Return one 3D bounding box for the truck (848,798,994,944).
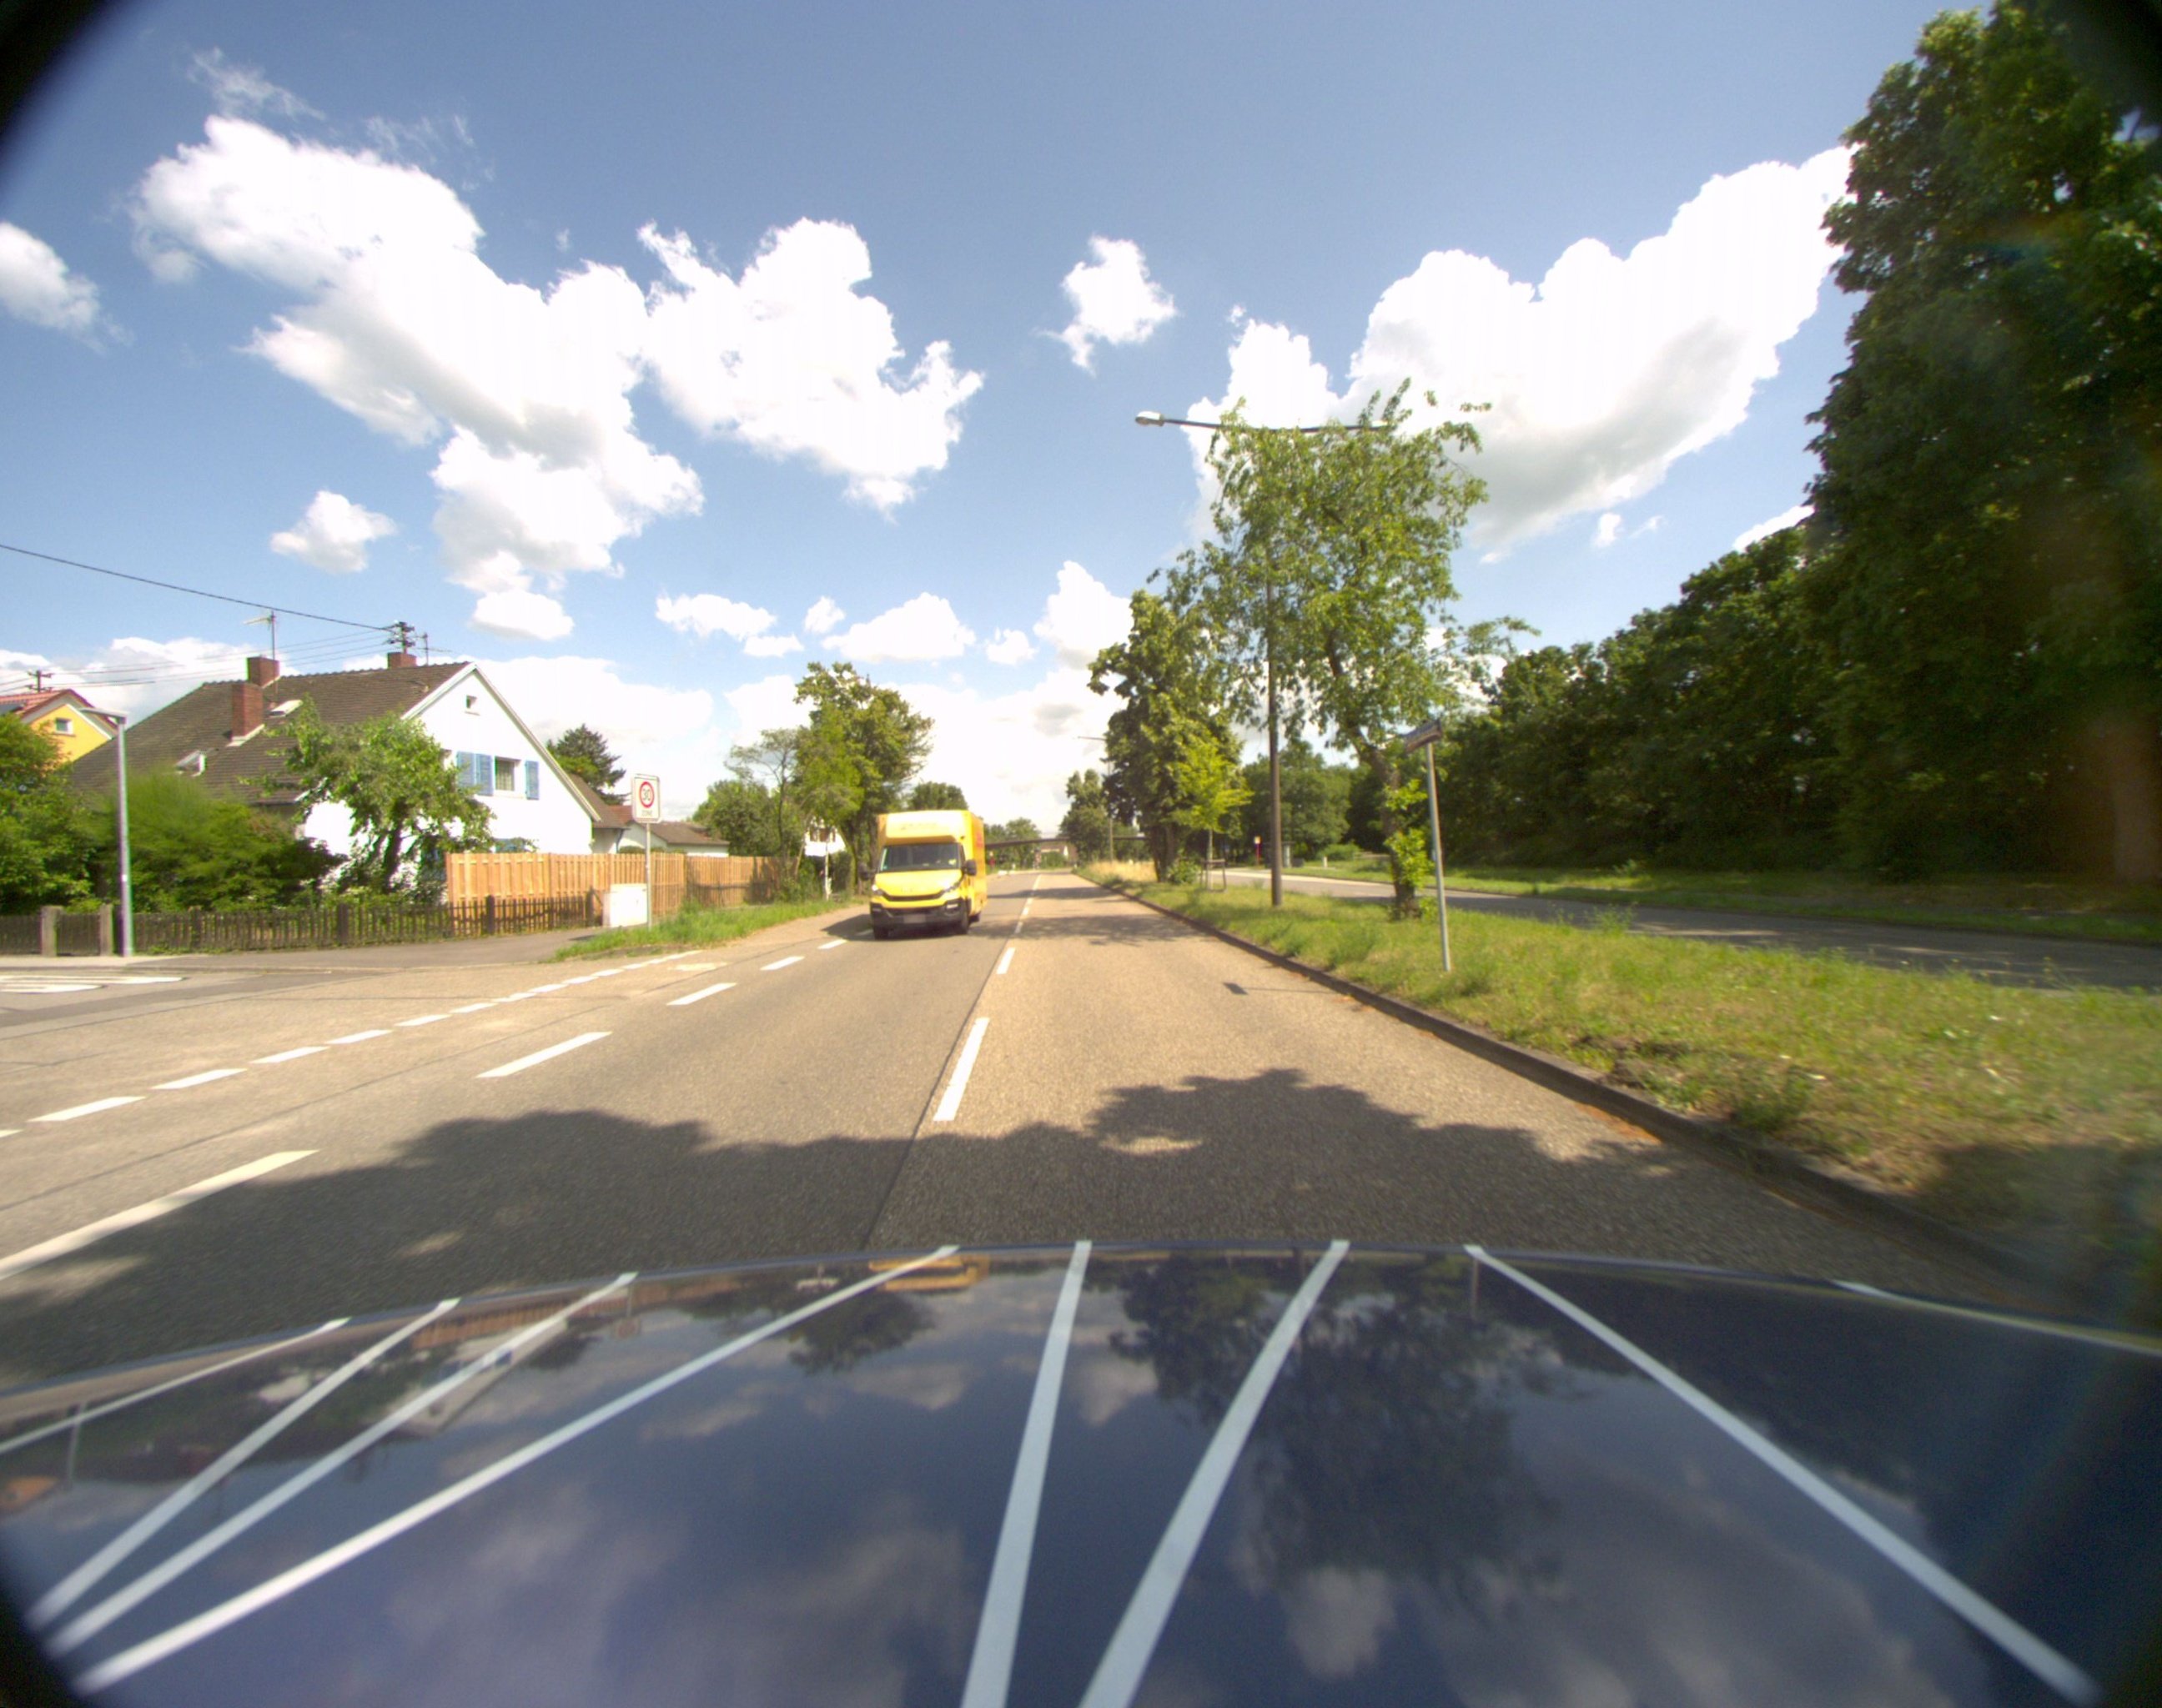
[{"bbox_3d":[-3.715,0.416,19.534,2.271,2.863,8.027,-3,-1,-3],"label":"truck"}]

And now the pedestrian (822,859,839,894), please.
[{"bbox_3d":[-12.147,1.062,36.878,0.561,1.667,0.634,-2,0,-3],"label":"pedestrian"}]
